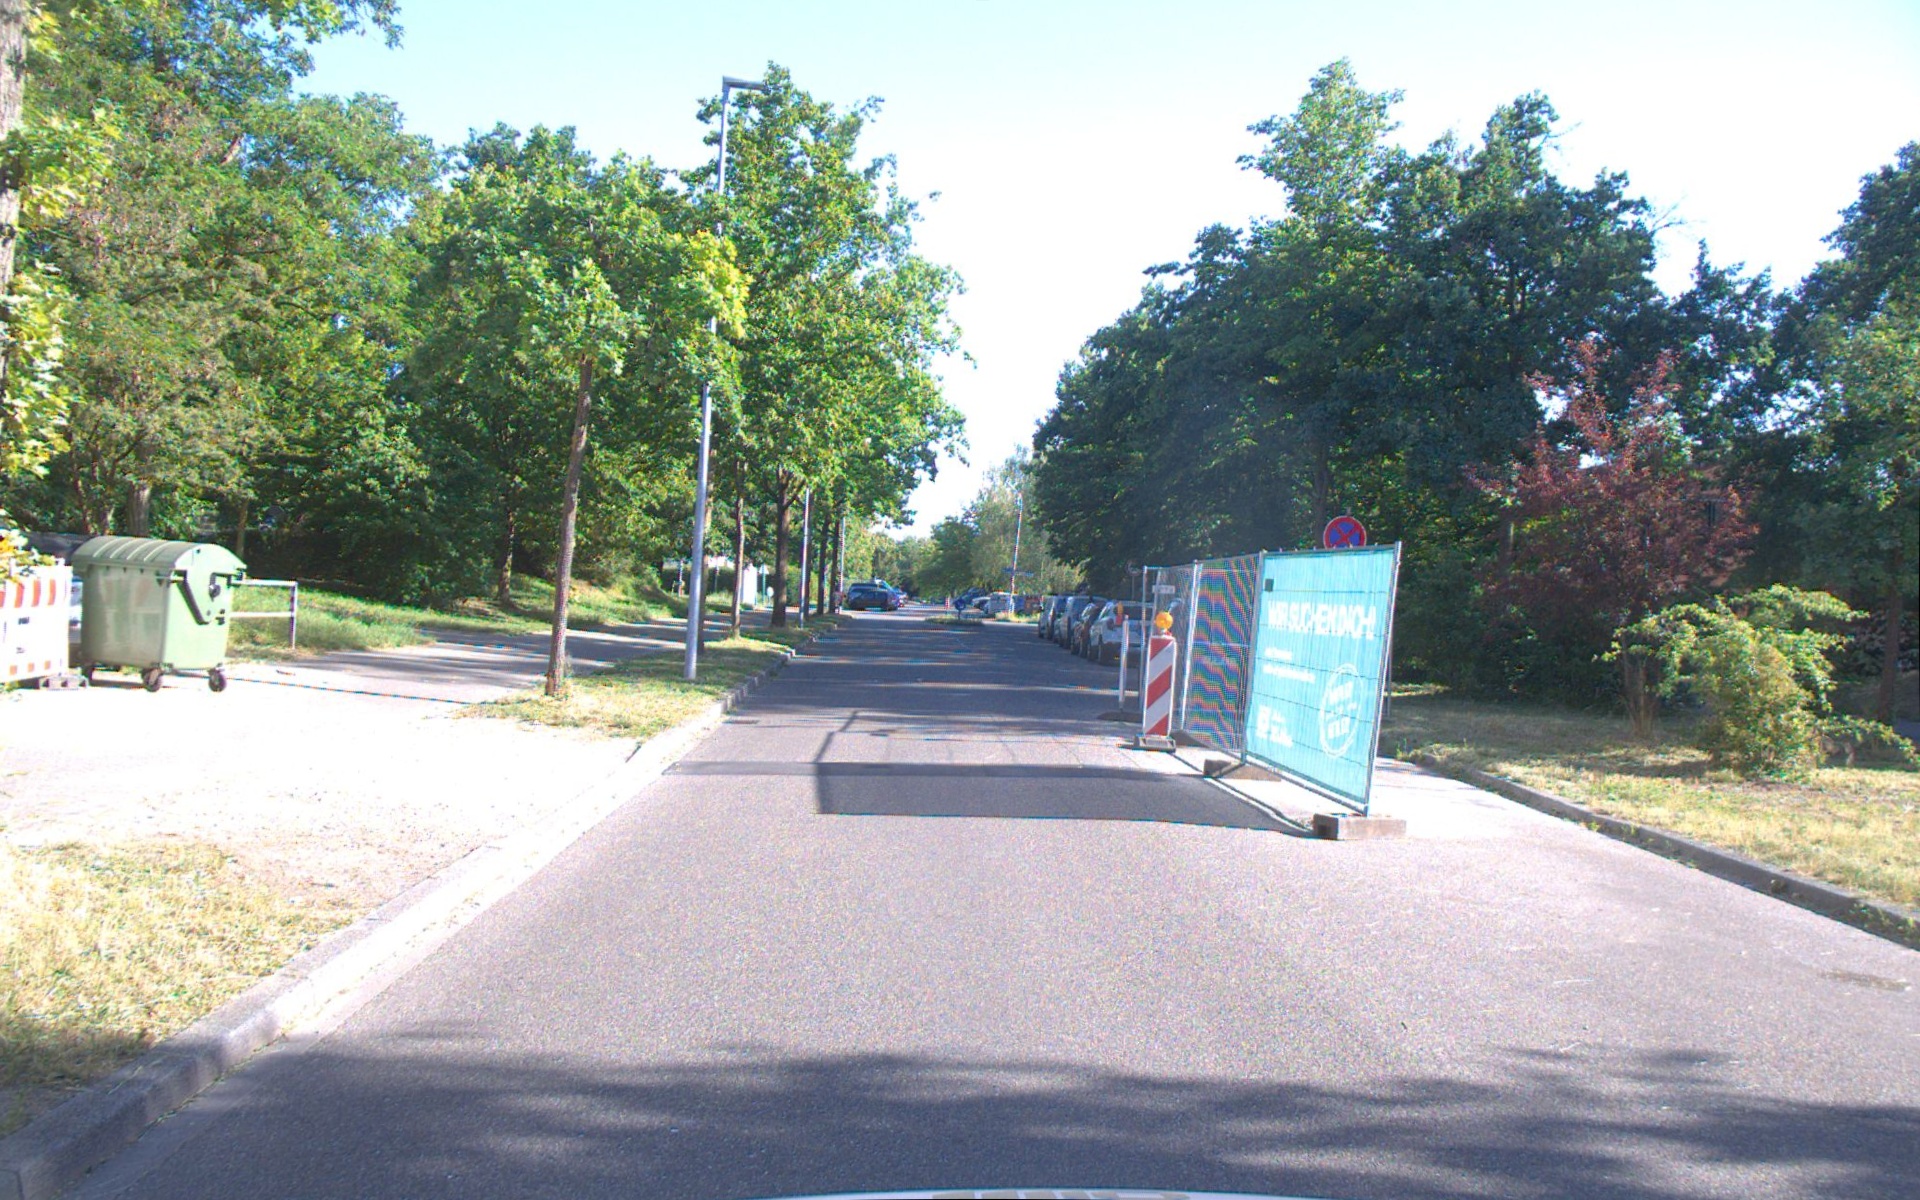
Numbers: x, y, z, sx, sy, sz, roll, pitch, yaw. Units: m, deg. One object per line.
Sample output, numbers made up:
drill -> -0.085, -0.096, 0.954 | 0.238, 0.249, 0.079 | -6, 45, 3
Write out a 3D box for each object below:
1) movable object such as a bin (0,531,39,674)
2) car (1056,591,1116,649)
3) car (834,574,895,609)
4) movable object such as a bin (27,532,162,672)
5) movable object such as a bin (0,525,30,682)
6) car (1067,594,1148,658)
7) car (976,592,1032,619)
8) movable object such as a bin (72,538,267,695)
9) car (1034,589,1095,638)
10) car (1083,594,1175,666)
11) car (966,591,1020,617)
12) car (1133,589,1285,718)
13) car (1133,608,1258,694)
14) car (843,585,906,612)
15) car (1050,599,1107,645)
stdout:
movable object such as a bin -> -10.409, -0.003, 17.370 | 1.131, 1.460, 1.258 | 2, 0, -35
car -> 4.263, 0.644, 56.512 | 1.590, 1.803, 3.668 | 4, 0, -1
car -> -8.503, -0.754, 146.592 | 5.101, 2.666, 2.291 | 5, 0, -6
movable object such as a bin -> -9.515, 0.017, 18.166 | 1.131, 1.460, 1.258 | 2, 0, -35
movable object such as a bin -> -9.678, 0.003, 15.340 | 1.244, 1.460, 1.324 | 2, 0, 27
car -> 4.277, 0.733, 48.530 | 1.740, 1.649, 4.062 | 4, 0, -3
car -> 3.101, 0.396, 117.101 | 3.758, 1.603, 1.689 | 5, 0, 5
movable object such as a bin -> -7.905, 0.154, 16.594 | 1.242, 1.460, 1.182 | 2, 0, 15
car -> 4.243, 0.530, 67.725 | 1.756, 1.816, 4.553 | 4, 0, -4
car -> 4.372, 0.748, 43.339 | 1.740, 1.649, 4.062 | 4, 0, -3
car -> 2.401, 0.286, 119.909 | 3.758, 1.603, 1.689 | 5, 0, 5
car -> 3.735, 0.759, 25.483 | 1.773, 1.679, 4.422 | 4, 0, 3
car -> 4.475, 0.931, 31.982 | 1.628, 1.399, 4.154 | 4, 0, -2
car -> -6.261, -0.094, 121.394 | 4.228, 1.603, 2.047 | 5, 0, 5
car -> 4.383, 0.788, 61.581 | 1.657, 1.538, 4.205 | 4, 0, -1
